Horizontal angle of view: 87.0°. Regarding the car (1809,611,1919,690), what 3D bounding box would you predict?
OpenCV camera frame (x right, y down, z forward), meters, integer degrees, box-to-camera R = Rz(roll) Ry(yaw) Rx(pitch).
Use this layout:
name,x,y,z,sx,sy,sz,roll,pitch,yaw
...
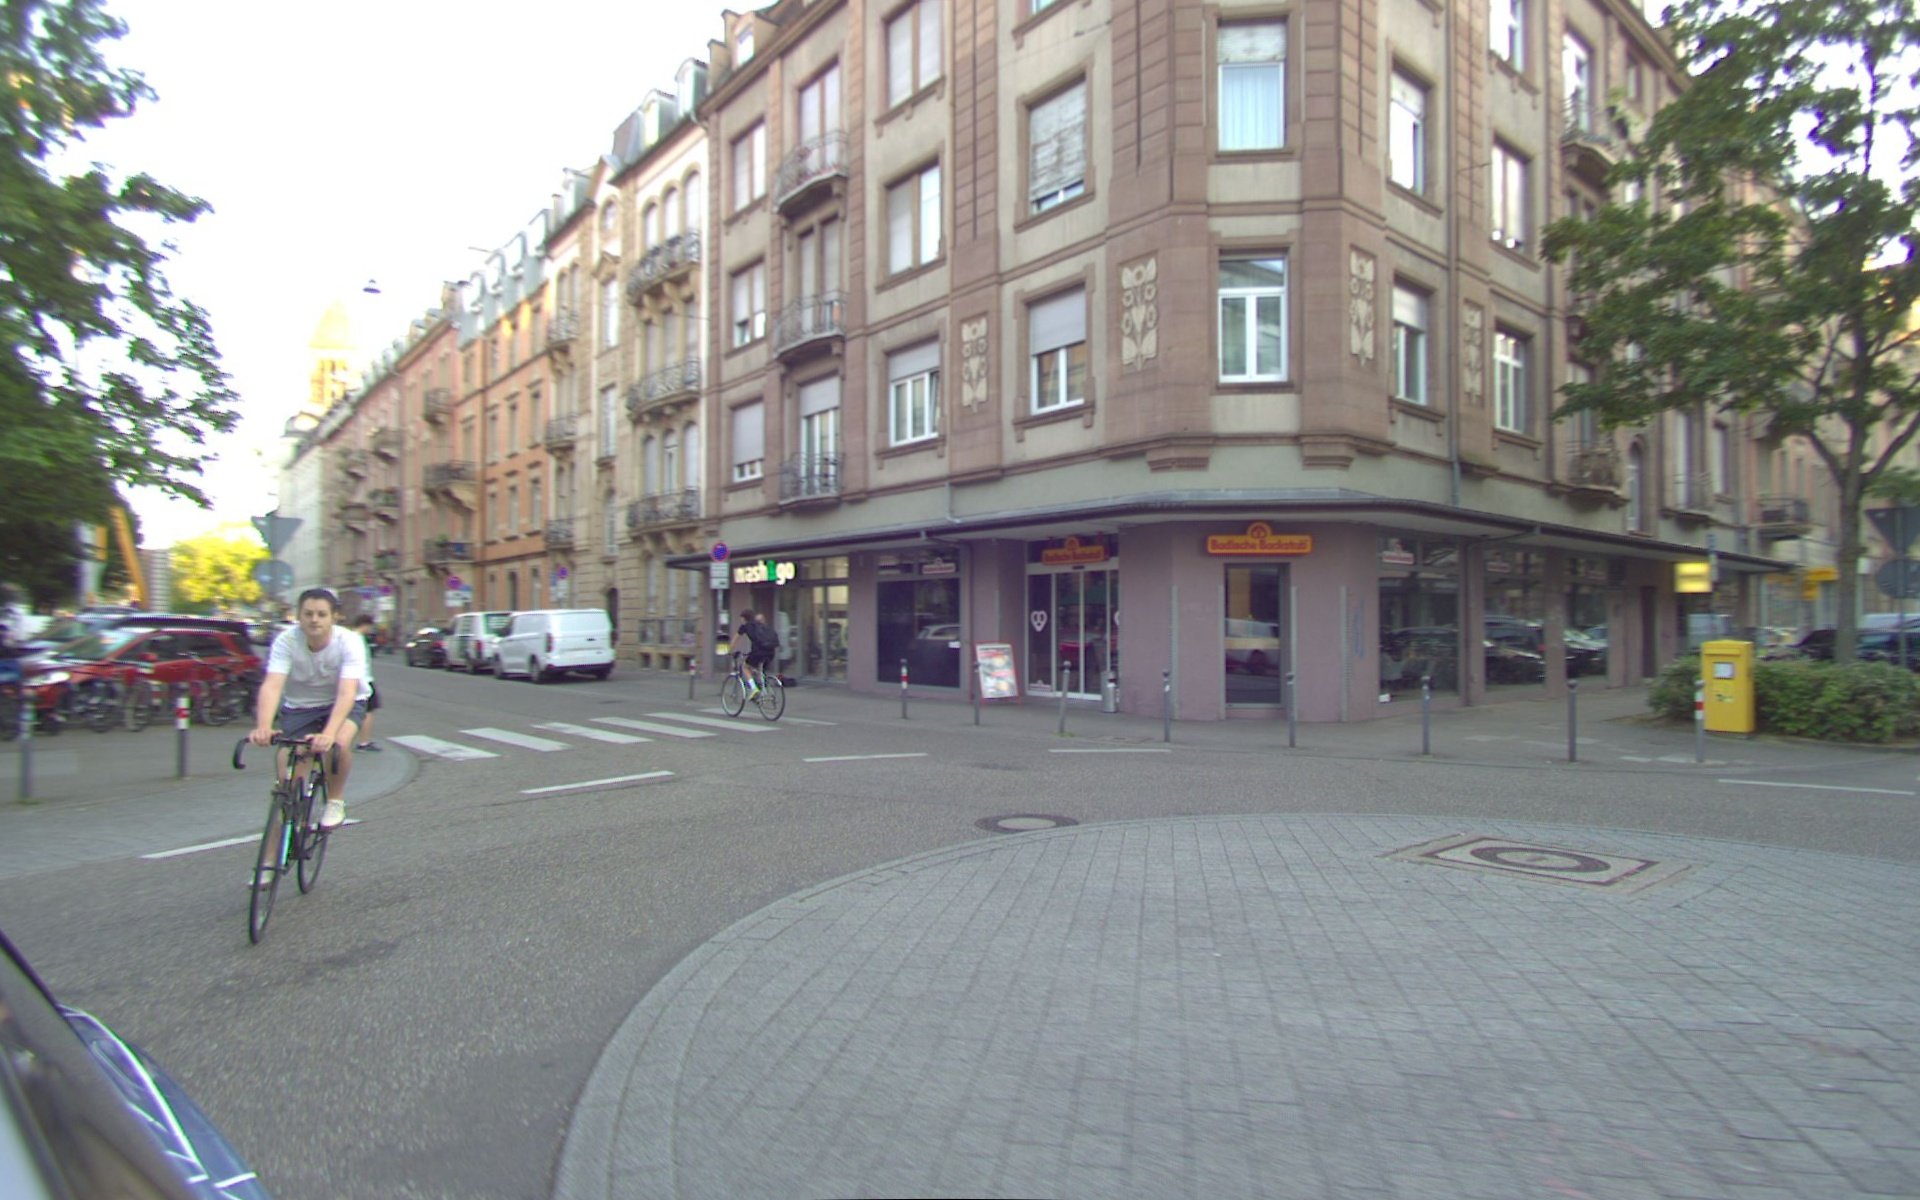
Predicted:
name,x,y,z,sx,sy,sz,roll,pitch,yaw
car,23.833,1.210,24.711,1.969,1.844,4.503,-1,0,-41

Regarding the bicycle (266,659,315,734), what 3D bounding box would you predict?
name,x,y,z,sx,sy,sz,roll,pitch,yaw
bicycle,-10.541,1.493,15.915,0.360,1.071,1.553,-1,0,-44

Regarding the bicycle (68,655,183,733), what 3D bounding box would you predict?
name,x,y,z,sx,sy,sz,roll,pitch,yaw
bicycle,-12.530,1.389,15.196,1.758,1.071,0.594,-1,0,23

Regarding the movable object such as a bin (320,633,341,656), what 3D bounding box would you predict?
name,x,y,z,sx,sy,sz,roll,pitch,yaw
movable object such as a bin,-35.648,2.519,57.302,0.876,1.260,0.777,-1,0,-40

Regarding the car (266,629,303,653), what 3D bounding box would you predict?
name,x,y,z,sx,sy,sz,roll,pitch,yaw
car,-44.617,2.693,66.826,1.683,1.541,3.799,0,-2,-39

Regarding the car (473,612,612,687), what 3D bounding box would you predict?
name,x,y,z,sx,sy,sz,roll,pitch,yaw
car,-11.844,1.327,28.487,2.083,1.936,5.032,1,-2,-42

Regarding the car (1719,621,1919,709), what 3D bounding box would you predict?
name,x,y,z,sx,sy,sz,roll,pitch,yaw
car,18.156,1.242,20.180,1.969,1.590,4.503,-1,0,-41

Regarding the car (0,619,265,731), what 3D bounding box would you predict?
name,x,y,z,sx,sy,sz,roll,pitch,yaw
car,-14.338,1.233,17.146,1.679,1.640,4.025,-1,-4,18

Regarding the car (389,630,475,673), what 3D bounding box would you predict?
name,x,y,z,sx,sy,sz,roll,pitch,yaw
car,-19.509,1.852,37.325,1.815,1.482,4.177,1,-2,-42

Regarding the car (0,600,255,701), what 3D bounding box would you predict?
name,x,y,z,sx,sy,sz,roll,pitch,yaw
car,-19.816,1.224,23.807,1.913,2.088,5.417,0,-4,11

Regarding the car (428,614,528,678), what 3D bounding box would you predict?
name,x,y,z,sx,sy,sz,roll,pitch,yaw
car,-15.800,1.449,33.044,1.814,1.936,4.854,1,-2,-39

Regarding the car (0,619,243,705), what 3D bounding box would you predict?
name,x,y,z,sx,sy,sz,roll,pitch,yaw
car,-17.981,1.319,21.464,1.916,1.635,4.201,0,-4,16

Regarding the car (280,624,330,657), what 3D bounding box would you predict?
name,x,y,z,sx,sy,sz,roll,pitch,yaw
car,-38.200,2.326,58.946,1.749,1.802,4.593,0,-1,-42

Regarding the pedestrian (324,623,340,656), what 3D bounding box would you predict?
name,x,y,z,sx,sy,sz,roll,pitch,yaw
pedestrian,-35.224,2.203,56.753,0.720,1.828,0.591,-1,0,41

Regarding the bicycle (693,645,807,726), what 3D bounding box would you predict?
name,x,y,z,sx,sy,sz,roll,pitch,yaw
bicycle,-3.425,1.351,16.435,1.935,1.180,0.829,-1,0,42

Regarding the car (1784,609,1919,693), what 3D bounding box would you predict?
name,x,y,z,sx,sy,sz,roll,pitch,yaw
car,22.076,1.154,23.329,1.969,1.844,4.503,-1,0,-41

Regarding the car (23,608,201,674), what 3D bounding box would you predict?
name,x,y,z,sx,sy,sz,roll,pitch,yaw
car,-32.699,1.572,39.238,1.987,2.380,4.899,-1,-2,23

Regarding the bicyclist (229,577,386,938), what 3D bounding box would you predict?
name,x,y,z,sx,sy,sz,roll,pitch,yaw
bicyclist,-3.378,0.753,5.293,0.520,1.716,0.792,-1,0,-20

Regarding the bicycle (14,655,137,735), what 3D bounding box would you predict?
name,x,y,z,sx,sy,sz,roll,pitch,yaw
bicycle,-12.776,1.349,14.617,1.758,1.071,0.594,0,-4,23

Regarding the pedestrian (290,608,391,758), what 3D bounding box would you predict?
name,x,y,z,sx,sy,sz,roll,pitch,yaw
pedestrian,-7.801,1.000,12.738,0.934,1.783,0.869,-1,0,-42

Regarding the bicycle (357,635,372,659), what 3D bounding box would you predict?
name,x,y,z,sx,sy,sz,roll,pitch,yaw
bicycle,-30.582,2.384,51.960,0.406,1.168,1.841,-1,0,-39

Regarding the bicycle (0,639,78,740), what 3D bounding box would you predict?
name,x,y,z,sx,sy,sz,roll,pitch,yaw
bicycle,-12.935,1.199,13.857,1.758,1.298,0.594,-1,0,23

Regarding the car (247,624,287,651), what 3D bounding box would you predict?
name,x,y,z,sx,sy,sz,roll,pitch,yaw
car,-50.882,2.713,74.261,1.903,1.897,4.912,1,-2,-41

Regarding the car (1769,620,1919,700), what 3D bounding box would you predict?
name,x,y,z,sx,sy,sz,roll,pitch,yaw
car,20.272,1.252,21.520,1.969,1.590,4.503,-1,0,-41

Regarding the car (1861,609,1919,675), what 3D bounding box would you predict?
name,x,y,z,sx,sy,sz,roll,pitch,yaw
car,30.479,1.259,30.298,1.969,1.966,5.013,-1,0,-41

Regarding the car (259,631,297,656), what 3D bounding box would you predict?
name,x,y,z,sx,sy,sz,roll,pitch,yaw
car,-47.330,2.980,70.198,1.903,1.608,3.977,0,-2,-39

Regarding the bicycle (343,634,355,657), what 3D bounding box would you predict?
name,x,y,z,sx,sy,sz,roll,pitch,yaw
bicycle,-33.381,2.486,55.266,0.459,1.164,2.006,-1,0,-33

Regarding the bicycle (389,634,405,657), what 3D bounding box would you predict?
name,x,y,z,sx,sy,sz,roll,pitch,yaw
bicycle,-29.293,2.365,52.667,0.406,1.168,1.841,-1,0,-39

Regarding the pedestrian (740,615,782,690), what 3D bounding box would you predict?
name,x,y,z,sx,sy,sz,roll,pitch,yaw
pedestrian,-4.622,1.209,23.491,0.700,1.691,0.737,-1,-1,-37

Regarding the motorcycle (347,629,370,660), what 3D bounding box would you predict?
name,x,y,z,sx,sy,sz,roll,pitch,yaw
motorcycle,-28.436,2.094,47.800,0.676,1.415,2.018,-1,0,-38

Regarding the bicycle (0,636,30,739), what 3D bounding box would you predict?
name,x,y,z,sx,sy,sz,roll,pitch,yaw
bicycle,-12.944,1.121,13.017,1.706,1.298,0.596,-1,-2,14

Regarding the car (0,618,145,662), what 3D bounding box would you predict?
name,x,y,z,sx,sy,sz,roll,pitch,yaw
car,-42.576,1.977,48.664,5.109,1.971,1.902,4,-5,-41

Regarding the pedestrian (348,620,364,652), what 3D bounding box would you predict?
name,x,y,z,sx,sy,sz,roll,pitch,yaw
pedestrian,-34.458,2.044,57.725,0.673,1.824,0.963,-1,0,-39

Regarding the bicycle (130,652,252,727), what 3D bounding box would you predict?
name,x,y,z,sx,sy,sz,roll,pitch,yaw
bicycle,-12.617,1.442,16.653,0.364,1.170,1.534,-1,-3,35

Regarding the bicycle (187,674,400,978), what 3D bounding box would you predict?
name,x,y,z,sx,sy,sz,roll,pitch,yaw
bicycle,-3.355,1.031,5.243,0.512,1.164,1.789,-1,0,-20

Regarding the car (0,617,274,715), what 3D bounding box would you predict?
name,x,y,z,sx,sy,sz,roll,pitch,yaw
car,-16.185,1.301,19.962,1.913,1.701,4.208,0,-4,11

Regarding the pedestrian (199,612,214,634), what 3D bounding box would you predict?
name,x,y,z,sx,sy,sz,roll,pitch,yaw
pedestrian,-96.144,2.867,129.152,1.424,2.761,1.013,-1,0,-42

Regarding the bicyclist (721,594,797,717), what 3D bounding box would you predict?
name,x,y,z,sx,sy,sz,roll,pitch,yaw
bicyclist,-3.226,0.866,16.248,0.879,1.890,0.829,-1,0,43

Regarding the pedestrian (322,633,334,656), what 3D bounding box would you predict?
name,x,y,z,sx,sy,sz,roll,pitch,yaw
pedestrian,-35.813,2.522,57.366,0.472,1.260,0.653,-1,0,-40

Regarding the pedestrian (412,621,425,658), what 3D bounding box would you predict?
name,x,y,z,sx,sy,sz,roll,pitch,yaw
pedestrian,-26.704,1.929,49.864,0.457,1.803,0.643,-1,0,-37
